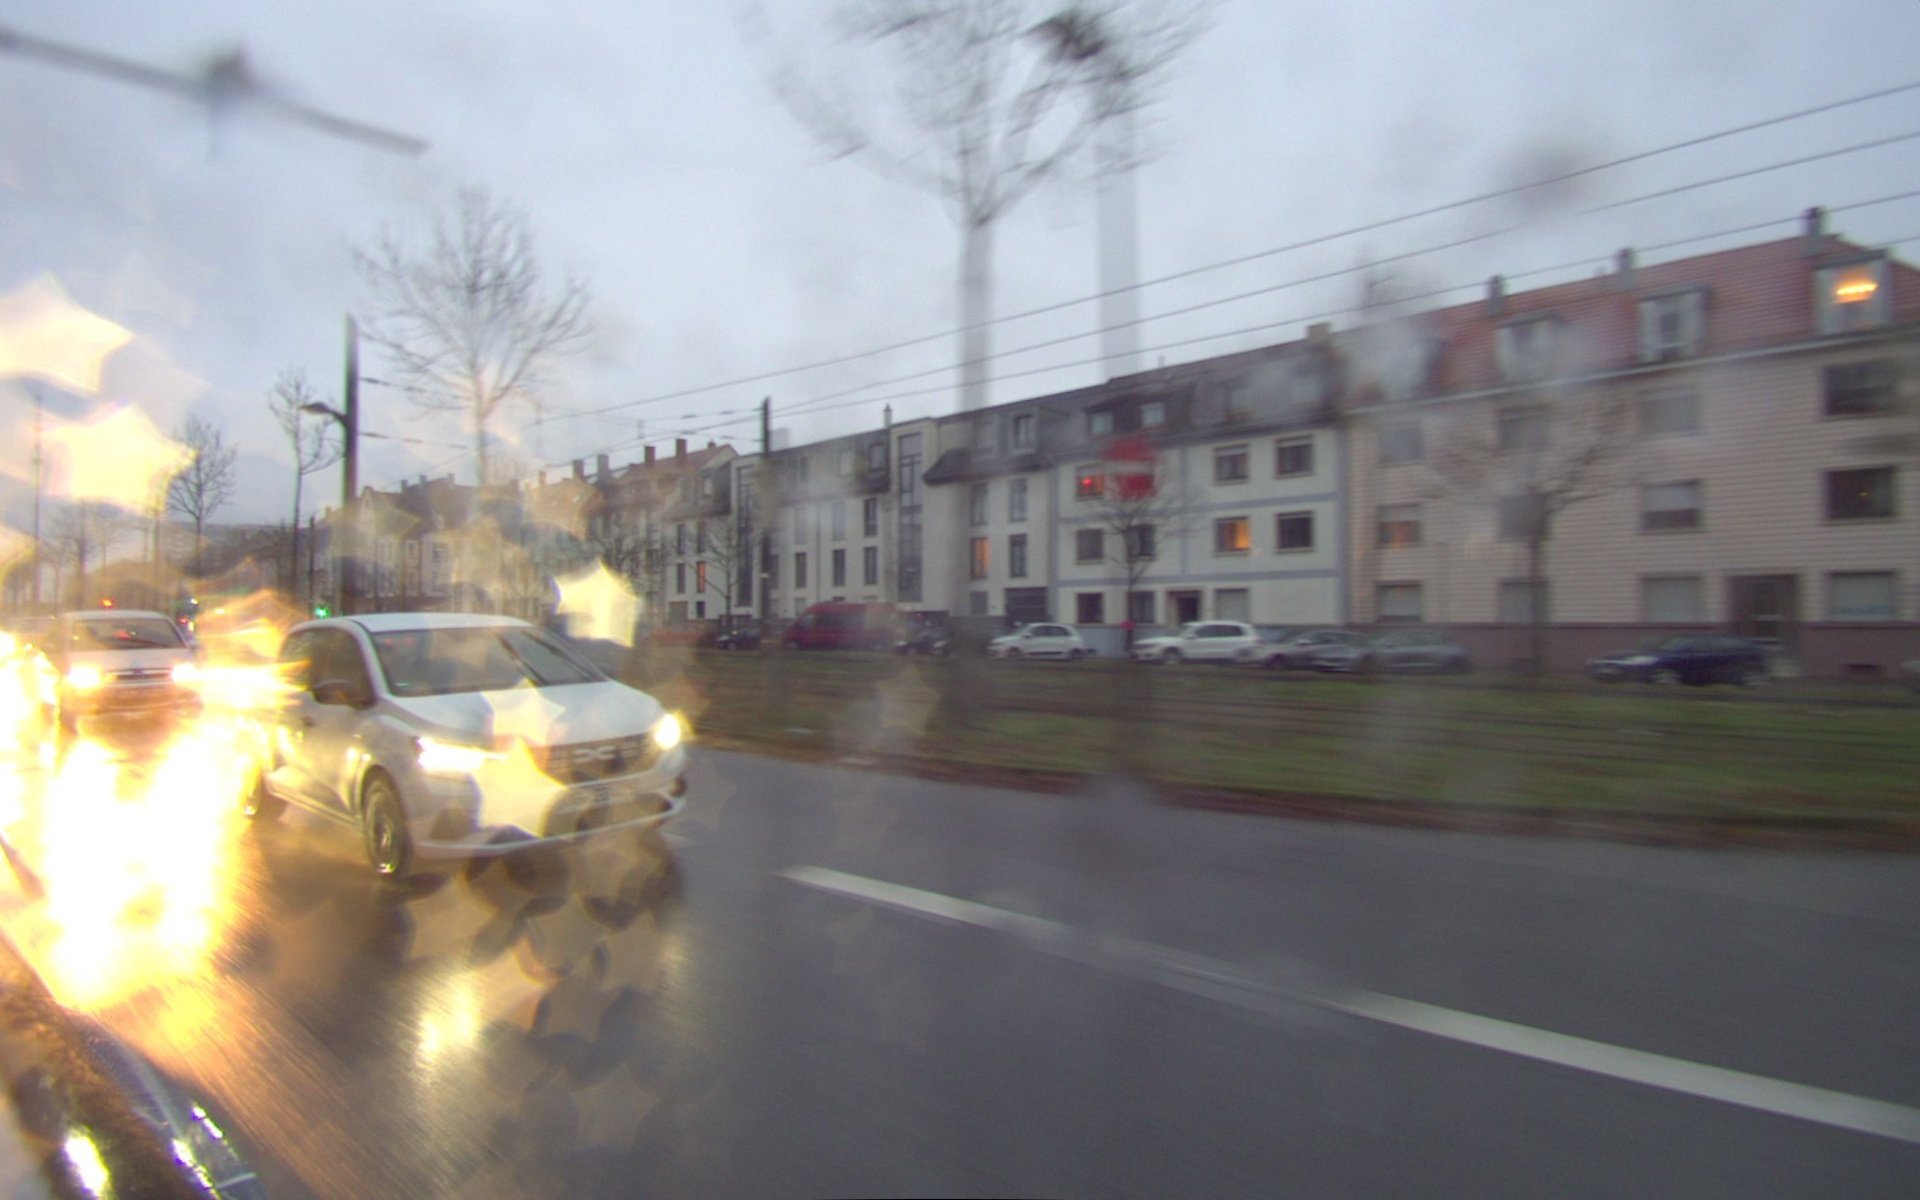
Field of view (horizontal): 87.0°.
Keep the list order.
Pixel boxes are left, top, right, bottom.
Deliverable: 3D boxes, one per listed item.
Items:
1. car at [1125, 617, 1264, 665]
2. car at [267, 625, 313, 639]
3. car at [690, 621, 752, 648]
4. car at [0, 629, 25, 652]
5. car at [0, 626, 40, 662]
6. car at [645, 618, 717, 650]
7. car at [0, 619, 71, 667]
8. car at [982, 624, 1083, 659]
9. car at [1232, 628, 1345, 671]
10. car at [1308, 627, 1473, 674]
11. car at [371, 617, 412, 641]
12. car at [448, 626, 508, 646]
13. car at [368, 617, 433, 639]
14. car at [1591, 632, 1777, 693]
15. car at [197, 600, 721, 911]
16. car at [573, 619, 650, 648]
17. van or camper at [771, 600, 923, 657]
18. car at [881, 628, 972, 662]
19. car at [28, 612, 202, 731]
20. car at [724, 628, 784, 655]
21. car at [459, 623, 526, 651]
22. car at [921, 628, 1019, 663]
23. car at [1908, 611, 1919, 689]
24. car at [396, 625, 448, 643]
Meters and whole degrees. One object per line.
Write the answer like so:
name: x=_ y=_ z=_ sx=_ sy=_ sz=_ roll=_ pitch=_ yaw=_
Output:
car: x=7.697 y=1.332 z=33.426 sx=4.057 sy=1.389 sz=1.777 roll=-1 pitch=0 yaw=-10
car: x=-73.880 y=3.488 z=111.585 sx=3.979 sy=1.239 sz=1.351 roll=-3 pitch=2 yaw=-10
car: x=-12.621 y=1.832 z=53.520 sx=3.049 sy=1.312 sz=1.390 roll=-1 pitch=0 yaw=-5
car: x=-59.138 y=2.489 z=62.705 sx=3.435 sy=1.327 sz=1.503 roll=-2 pitch=0 yaw=43
car: x=-42.866 y=1.975 z=45.766 sx=3.437 sy=1.498 sz=1.667 roll=-2 pitch=0 yaw=44
car: x=-15.495 y=1.862 z=56.207 sx=3.784 sy=1.600 sz=1.747 roll=-1 pitch=0 yaw=-16
car: x=-31.443 y=1.423 z=34.192 sx=1.879 sy=1.495 sz=3.658 roll=-1 pitch=0 yaw=-45
car: x=2.680 y=1.540 z=37.875 sx=3.361 sy=1.156 sz=1.696 roll=-1 pitch=0 yaw=-15
car: x=10.038 y=1.500 z=30.971 sx=2.993 sy=1.156 sz=1.401 roll=-1 pitch=0 yaw=-16
car: x=12.206 y=1.404 z=28.739 sx=4.118 sy=1.124 sz=1.686 roll=-1 pitch=0 yaw=-16
car: x=-40.793 y=2.098 z=72.548 sx=3.509 sy=1.635 sz=1.596 roll=-2 pitch=0 yaw=43
car: x=-35.026 y=2.636 z=73.647 sx=3.778 sy=1.255 sz=1.743 roll=-2 pitch=0 yaw=-19
car: x=-48.239 y=2.415 z=87.298 sx=4.581 sy=1.736 sz=1.838 roll=-2 pitch=0 yaw=-13
car: x=17.430 y=1.479 z=24.418 sx=3.706 sy=1.347 sz=1.456 roll=0 pitch=-1 yaw=-11
car: x=-3.550 y=0.795 z=6.844 sx=3.997 sy=1.485 sz=1.672 roll=-2 pitch=0 yaw=39
car: x=-20.644 y=1.988 z=60.122 sx=4.095 sy=1.552 sz=1.674 roll=-1 pitch=0 yaw=-10
van or camper: x=-5.294 y=1.288 z=47.240 sx=6.767 sy=2.378 sz=2.005 roll=-1 pitch=0 yaw=-13
car: x=-1.421 y=1.868 z=42.471 sx=3.480 sy=1.221 sz=1.753 roll=-1 pitch=0 yaw=-15
car: x=-12.806 y=0.985 z=15.258 sx=3.909 sy=1.531 sz=1.616 roll=-2 pitch=0 yaw=44
car: x=-10.363 y=2.079 z=50.993 sx=2.844 sy=1.213 sz=1.390 roll=-1 pitch=0 yaw=-5
car: x=-27.588 y=2.162 z=59.675 sx=4.789 sy=1.514 sz=1.860 roll=-2 pitch=0 yaw=43
car: x=0.381 y=1.772 z=40.257 sx=3.480 sy=1.209 sz=1.888 roll=-1 pitch=0 yaw=-15
car: x=21.474 y=0.970 z=20.339 sx=3.734 sy=1.567 sz=1.747 roll=-1 pitch=0 yaw=-14
car: x=-43.906 y=2.779 z=82.649 sx=3.519 sy=1.319 sz=1.691 roll=-2 pitch=0 yaw=-17
